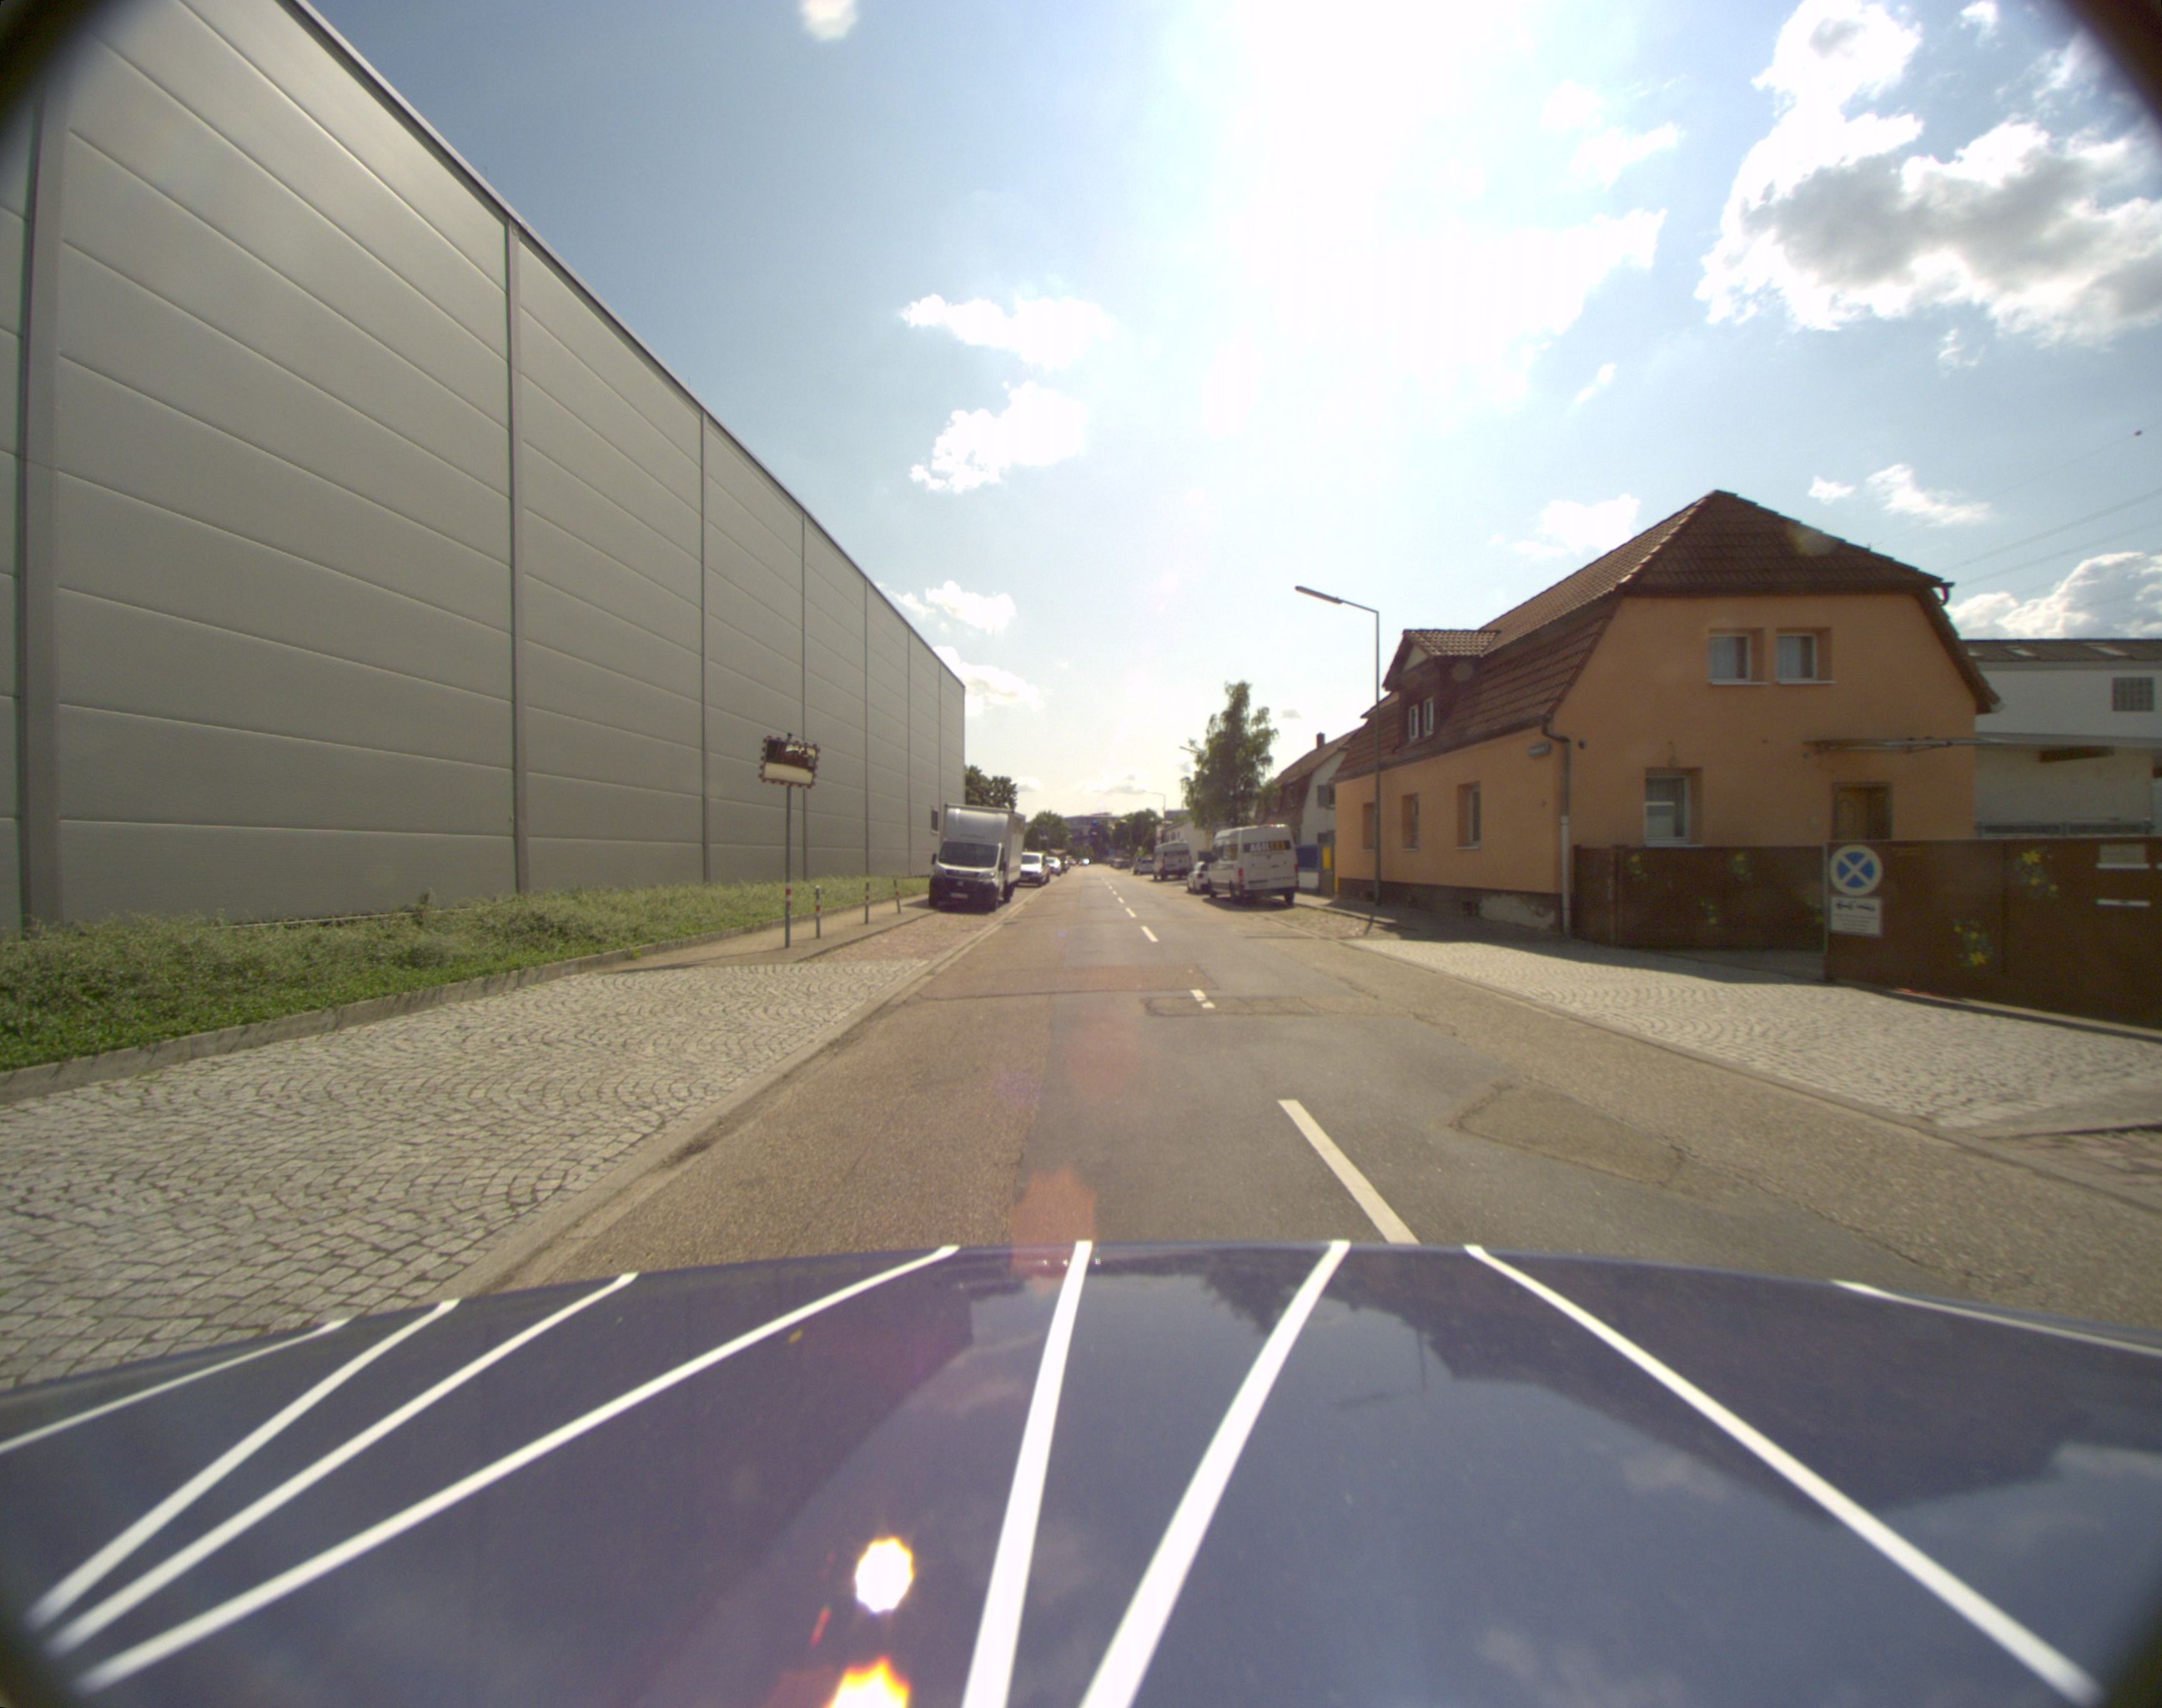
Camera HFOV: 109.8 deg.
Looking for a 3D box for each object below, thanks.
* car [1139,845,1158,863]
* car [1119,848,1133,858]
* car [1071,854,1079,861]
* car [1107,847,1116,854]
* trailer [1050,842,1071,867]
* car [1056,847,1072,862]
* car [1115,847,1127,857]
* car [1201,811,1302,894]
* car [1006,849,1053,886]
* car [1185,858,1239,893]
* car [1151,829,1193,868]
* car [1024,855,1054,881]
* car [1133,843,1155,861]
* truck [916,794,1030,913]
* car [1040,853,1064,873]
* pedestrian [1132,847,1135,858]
[{"bbox_3d":[6.366,-0.041,71.933,1.613,1.565,3.009,-4,0,3],"label":"car"},{"bbox_3d":[6.691,-0.196,113.389,1.810,1.410,4.496,-2,0,-1],"label":"car"},{"bbox_3d":[-1.455,0.757,174.148,1.758,1.478,4.224,0,0,1],"label":"car"},{"bbox_3d":[7.419,-0.908,186.355,1.762,1.565,4.475,-1,1,-3],"label":"car"},{"bbox_3d":[-2.324,0.003,88.374,2.210,2.721,6.221,3,1,0],"label":"trailer"},{"bbox_3d":[-2.397,0.036,106.450,1.998,2.002,5.649,0,0,1],"label":"car"},{"bbox_3d":[6.540,-0.326,125.762,1.625,1.513,4.174,0,0,-2],"label":"car"},{"bbox_3d":[5.921,-0.084,27.378,2.032,2.546,6.838,-2,1,0],"label":"car"},{"bbox_3d":[-2.835,0.720,42.947,2.059,1.892,5.147,1,0,2],"label":"car"},{"bbox_3d":[5.851,0.915,34.439,1.800,1.389,4.501,-2,1,2],"label":"car"},{"bbox_3d":[6.395,-0.421,54.168,2.035,2.543,6.655,-2,1,-1],"label":"car"},{"bbox_3d":[-2.731,0.927,50.142,1.708,1.615,4.093,-1,0,0],"label":"car"},{"bbox_3d":[6.336,-0.212,76.782,1.795,1.709,4.751,-2,0,1],"label":"car"},{"bbox_3d":[-3.387,-0.036,25.585,2.464,3.274,6.817,5,1,1],"label":"truck"},{"bbox_3d":[-2.606,0.775,69.645,1.940,1.683,4.679,3,0,1],"label":"car"},{"bbox_3d":[8.473,-0.255,123.720,0.452,1.883,0.677,0,1,0],"label":"pedestrian"}]
